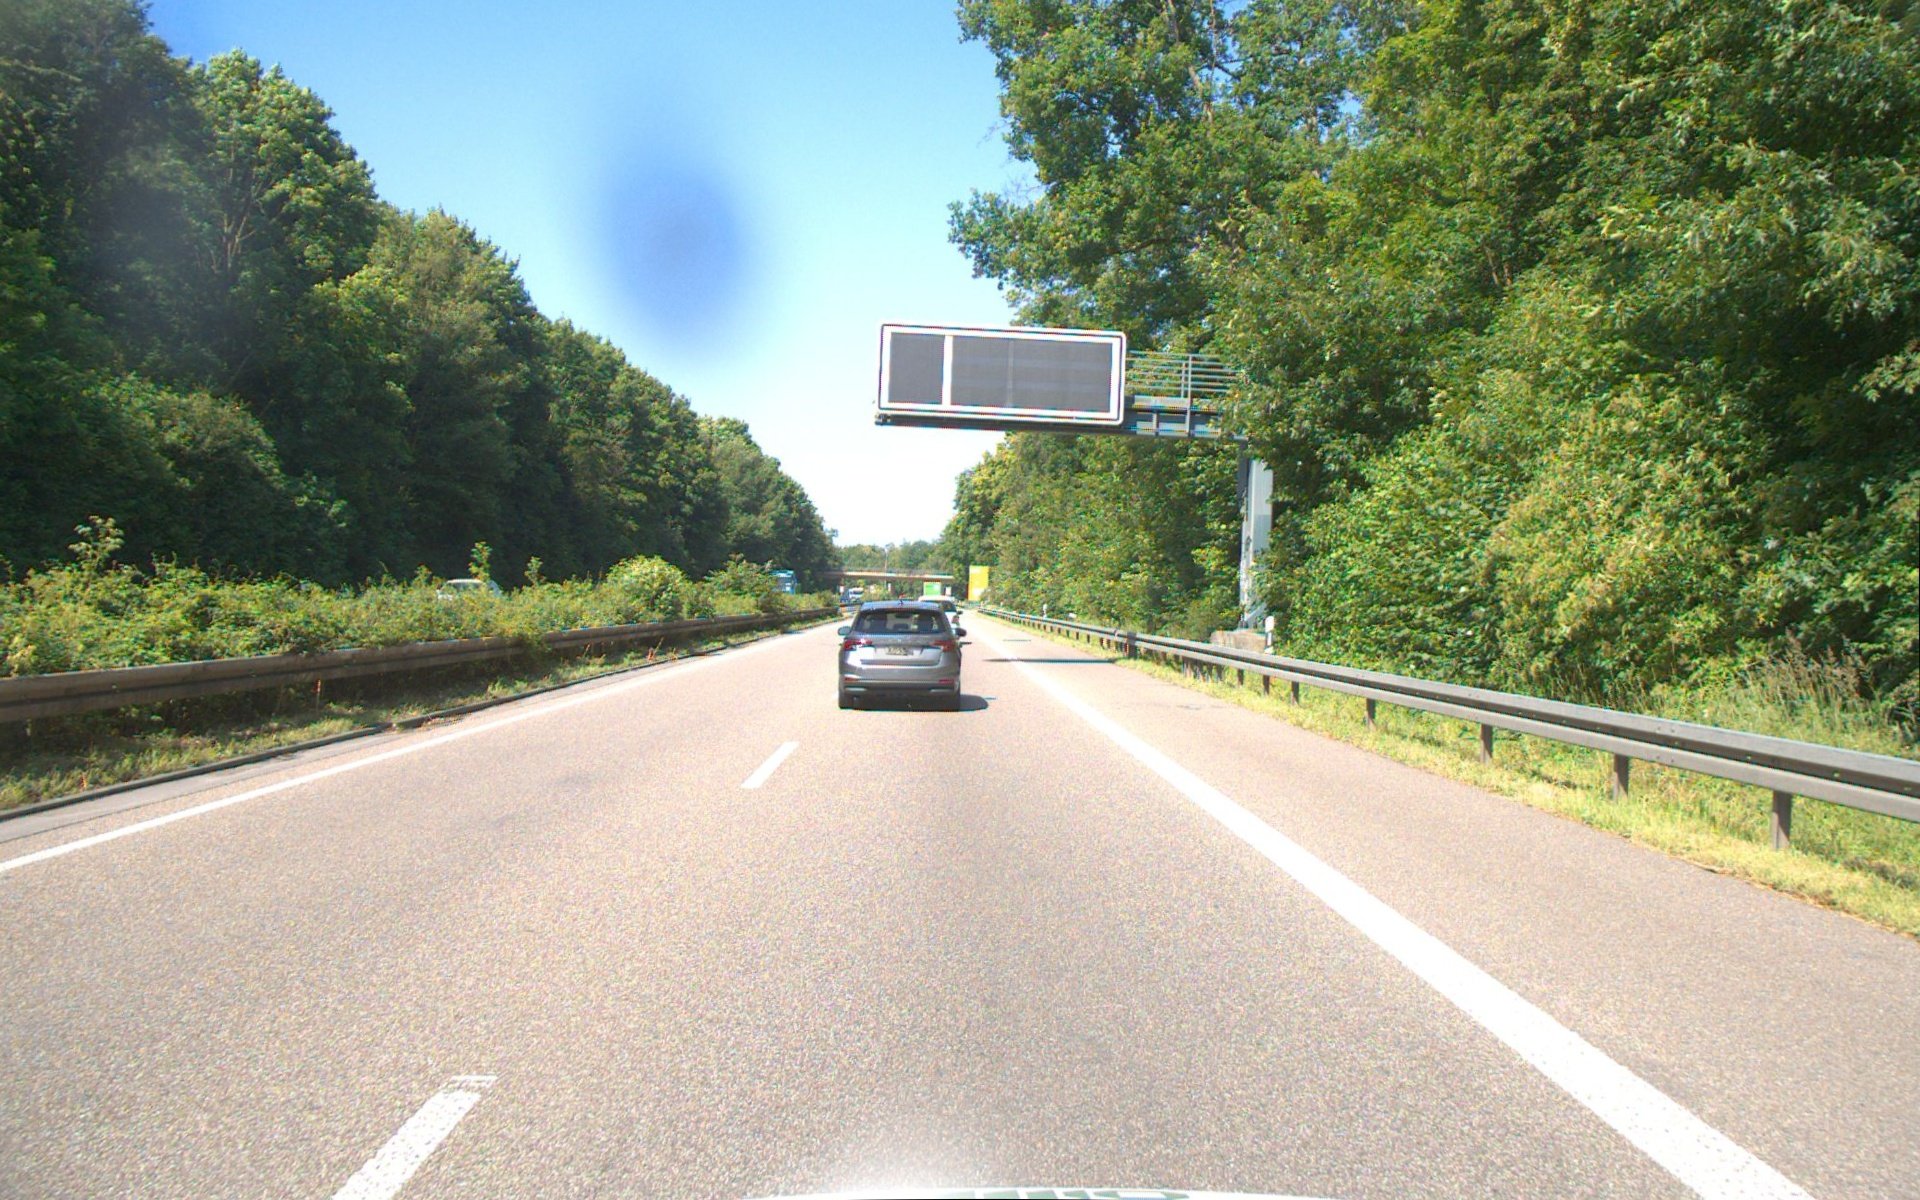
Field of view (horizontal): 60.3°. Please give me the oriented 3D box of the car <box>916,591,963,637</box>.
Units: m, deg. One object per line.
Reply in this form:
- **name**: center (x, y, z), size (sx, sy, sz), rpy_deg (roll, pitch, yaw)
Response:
- **car**: center (-0.657, 0.456, 55.818), size (1.491, 1.472, 3.340), rpy_deg (1, 0, 1)

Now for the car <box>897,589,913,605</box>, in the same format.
- **car**: center (-7.322, -0.437, 220.450), size (1.953, 2.049, 3.999), rpy_deg (1, 0, -1)

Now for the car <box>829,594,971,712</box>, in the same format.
- **car**: center (-0.769, 0.680, 23.347), size (1.802, 1.497, 3.624), rpy_deg (1, 0, 1)

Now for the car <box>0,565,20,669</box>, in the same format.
- **car**: center (-15.494, 0.246, 24.267), size (1.517, 1.593, 3.383), rpy_deg (1, 0, -2)

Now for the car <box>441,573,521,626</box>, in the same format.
- **car**: center (-16.245, -0.011, 56.260), size (1.658, 1.691, 3.998), rpy_deg (1, 0, -2)

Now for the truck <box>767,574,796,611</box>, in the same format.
- **truck**: center (-18.608, -0.799, 172.983), size (2.592, 3.771, 3.999), rpy_deg (1, 0, -1)

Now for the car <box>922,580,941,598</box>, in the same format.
- **car**: center (-4.229, -1.618, 244.728), size (2.693, 2.701, 3.999), rpy_deg (1, 0, -1)
